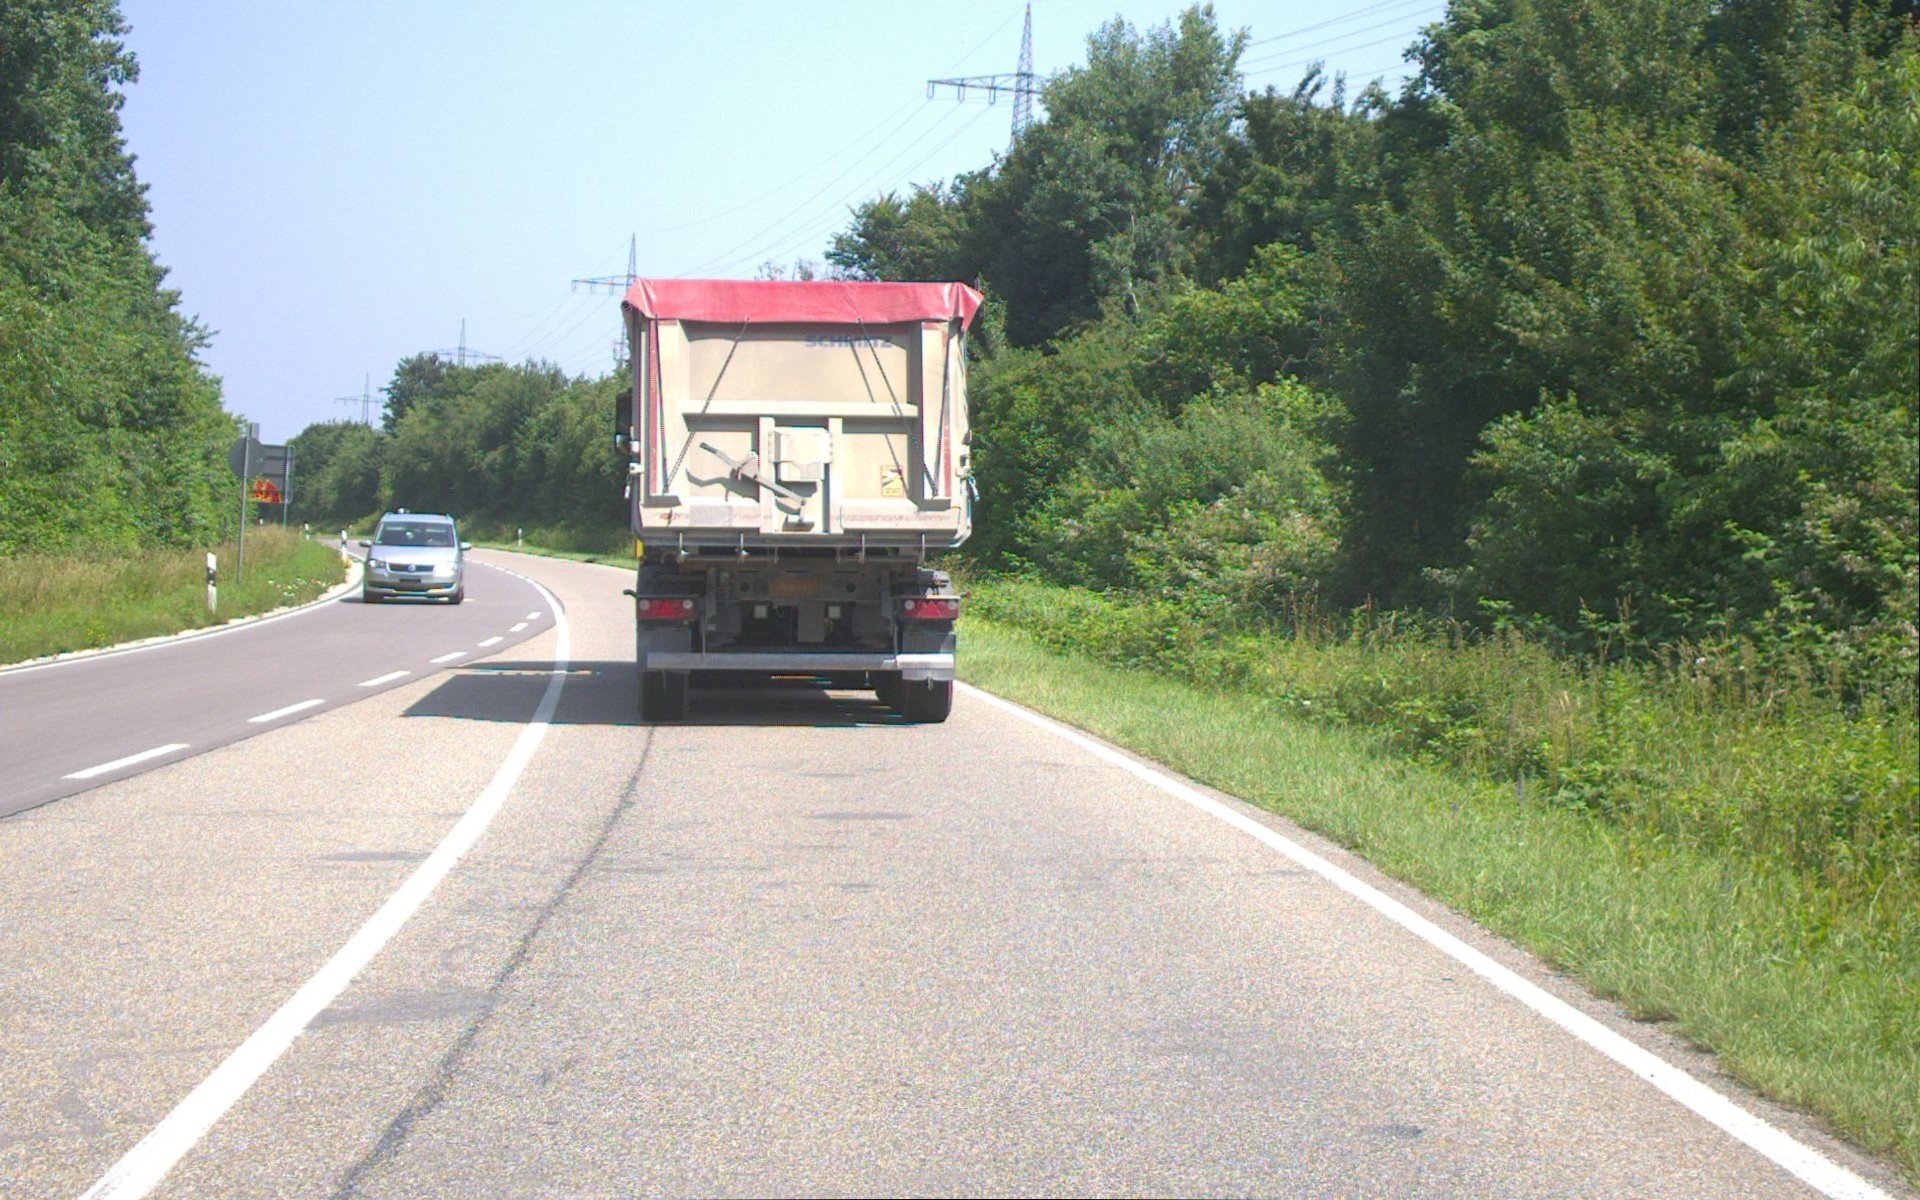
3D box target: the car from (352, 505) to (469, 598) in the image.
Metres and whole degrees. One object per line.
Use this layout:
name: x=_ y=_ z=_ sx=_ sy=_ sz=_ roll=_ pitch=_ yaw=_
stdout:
car: x=-10.168 y=-0.913 z=63.867 sx=1.802 sy=1.631 sz=4.213 roll=1 pitch=1 yaw=-5

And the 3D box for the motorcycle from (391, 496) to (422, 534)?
motorcycle: x=-18.506 y=-2.854 z=114.907 sx=0.946 sy=1.246 sz=2.683 roll=1 pitch=1 yaw=-8

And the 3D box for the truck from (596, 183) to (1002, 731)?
truck: x=-1.685 y=-1.200 z=31.121 sx=2.893 sy=3.949 sz=11.935 roll=1 pitch=1 yaw=-5

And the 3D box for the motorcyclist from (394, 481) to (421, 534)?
motorcyclist: x=-18.521 y=-3.112 z=115.225 sx=0.830 sy=1.746 sz=0.623 roll=1 pitch=1 yaw=-8
